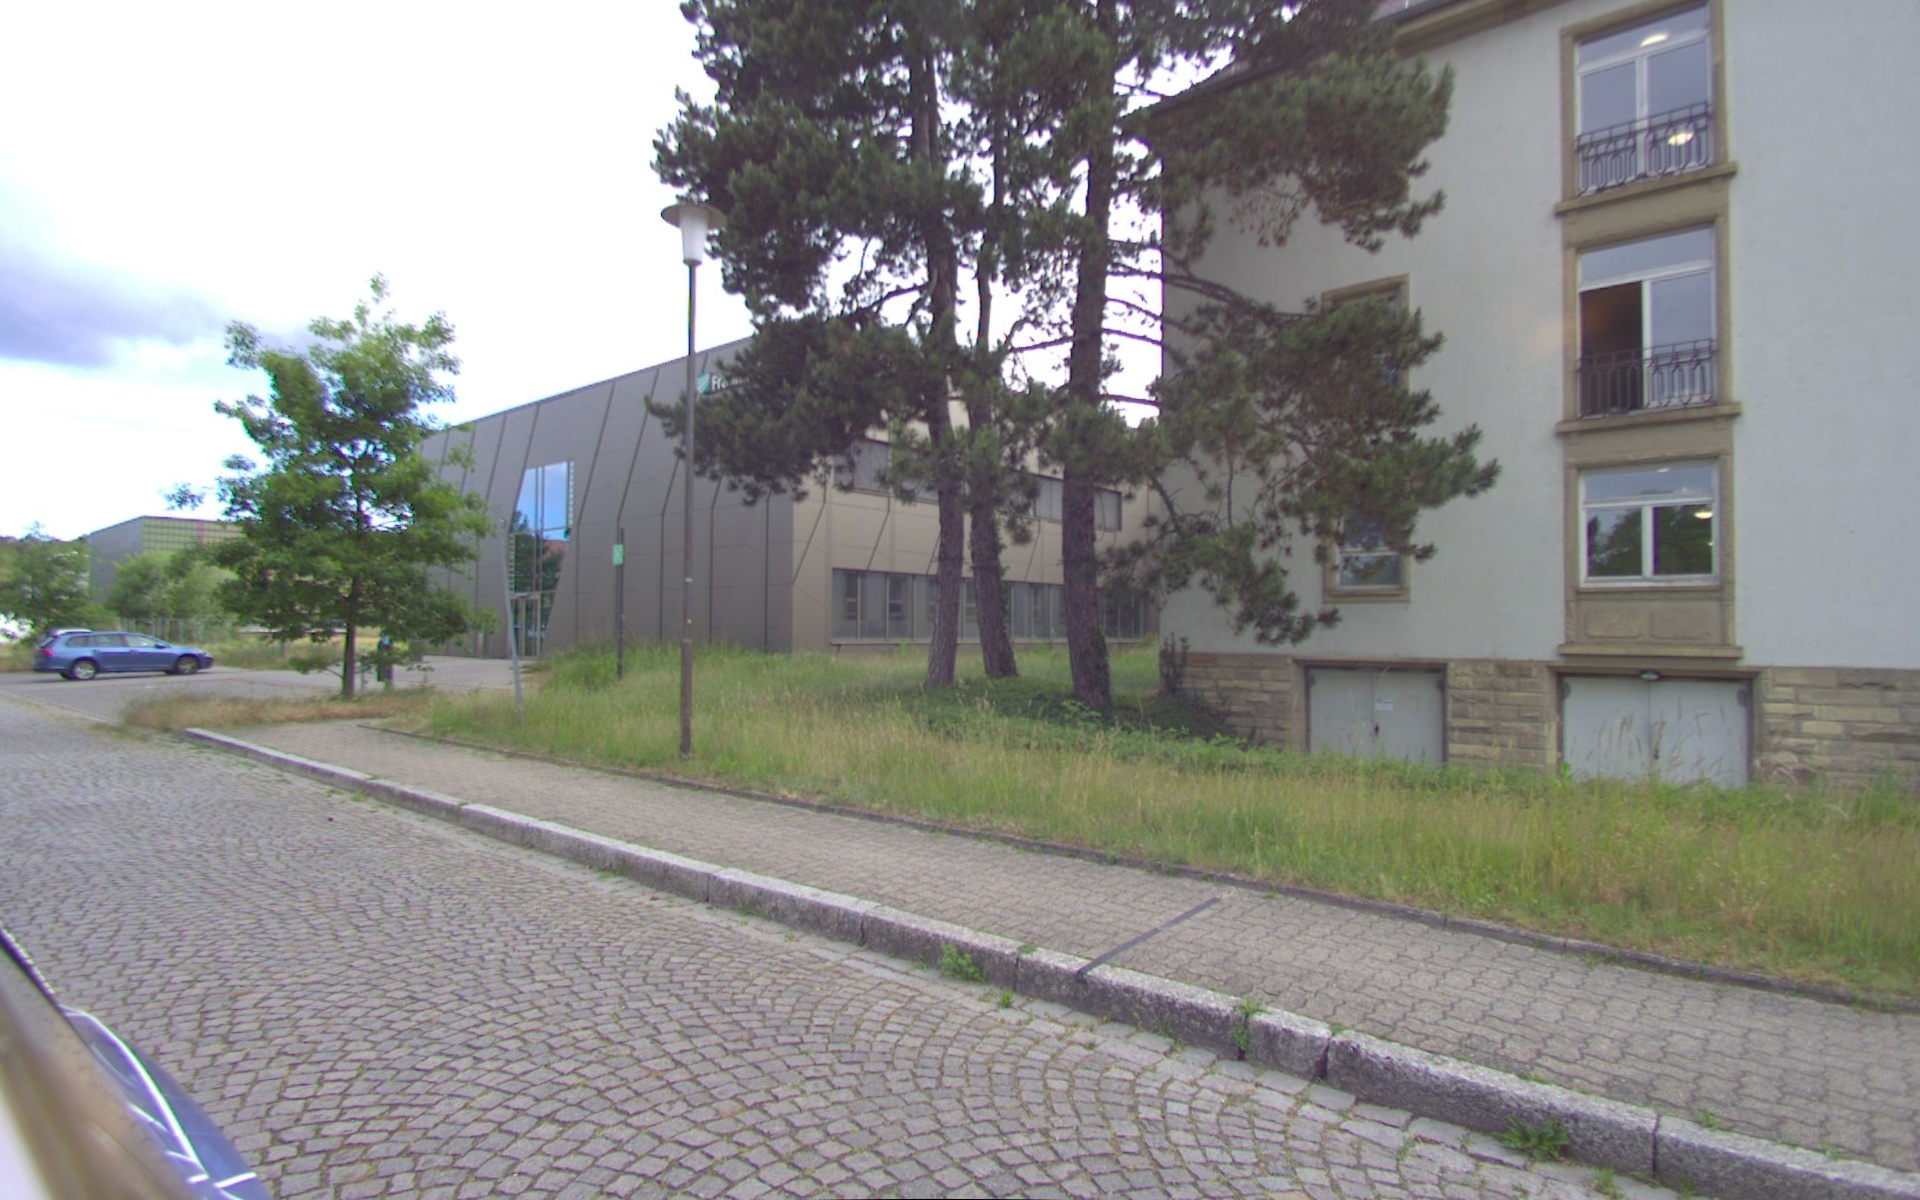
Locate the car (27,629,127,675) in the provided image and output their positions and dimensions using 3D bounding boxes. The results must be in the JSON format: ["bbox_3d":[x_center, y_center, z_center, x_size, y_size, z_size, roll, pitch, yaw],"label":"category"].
[{"bbox_3d":[-32.216,1.879,36.950,1.499,1.541,2.552,-1,0,39],"label":"car"}]

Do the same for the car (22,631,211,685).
[{"bbox_3d":[-26.662,1.776,32.112,1.631,1.481,4.372,-1,0,38],"label":"car"}]
